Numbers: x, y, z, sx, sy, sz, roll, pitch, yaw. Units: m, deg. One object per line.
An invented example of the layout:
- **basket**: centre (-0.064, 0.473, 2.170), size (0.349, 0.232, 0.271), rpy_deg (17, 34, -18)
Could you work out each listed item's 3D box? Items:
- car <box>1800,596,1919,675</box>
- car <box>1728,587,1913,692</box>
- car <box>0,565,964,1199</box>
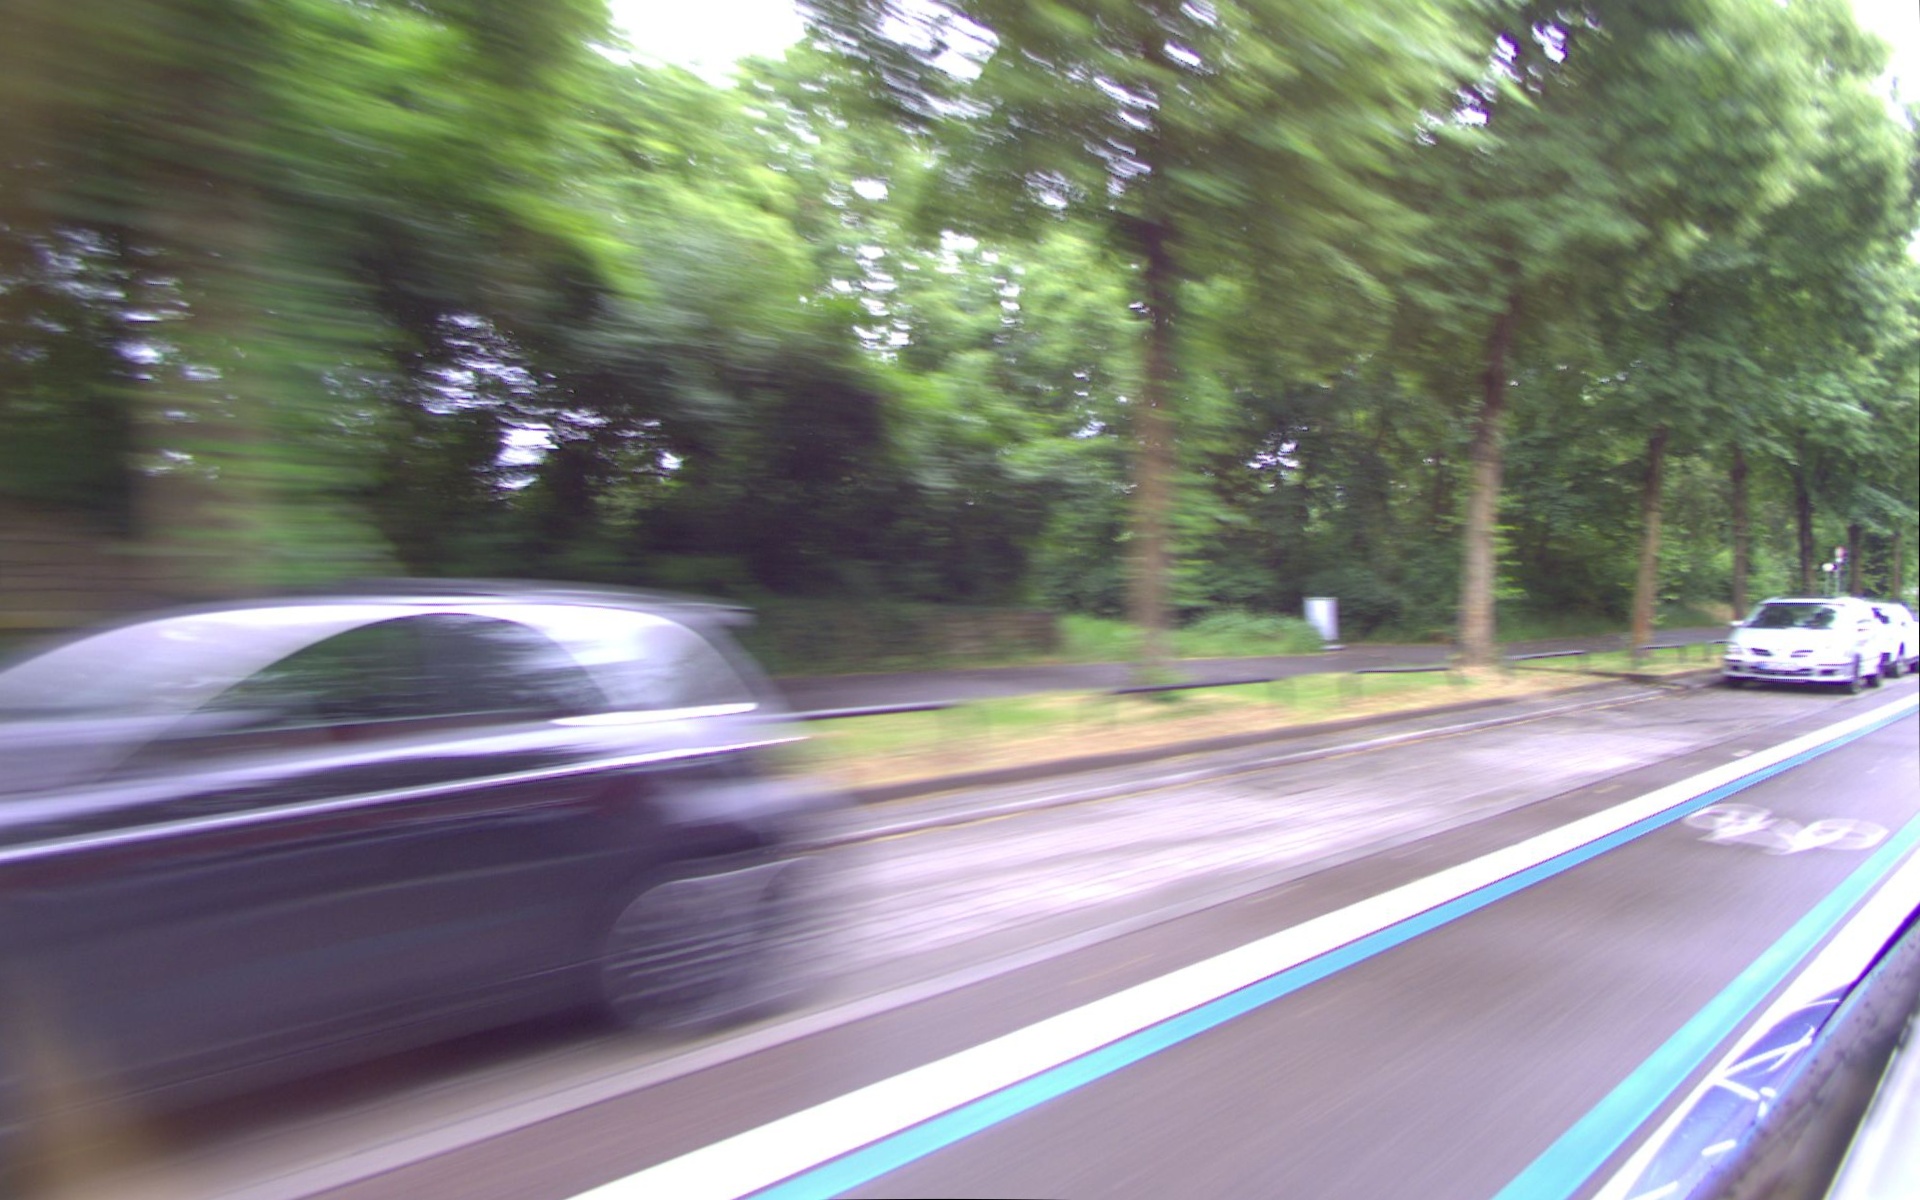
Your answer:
- **car**: centre (19.649, 0.679, 21.638), size (4.387, 1.533, 1.702), rpy_deg (0, 0, -38)
- **car**: centre (15.271, 0.605, 17.866), size (4.656, 1.617, 1.756), rpy_deg (0, 0, -40)
- **car**: centre (-2.283, 0.662, 3.301), size (4.490, 1.522, 1.829), rpy_deg (0, 1, -40)
